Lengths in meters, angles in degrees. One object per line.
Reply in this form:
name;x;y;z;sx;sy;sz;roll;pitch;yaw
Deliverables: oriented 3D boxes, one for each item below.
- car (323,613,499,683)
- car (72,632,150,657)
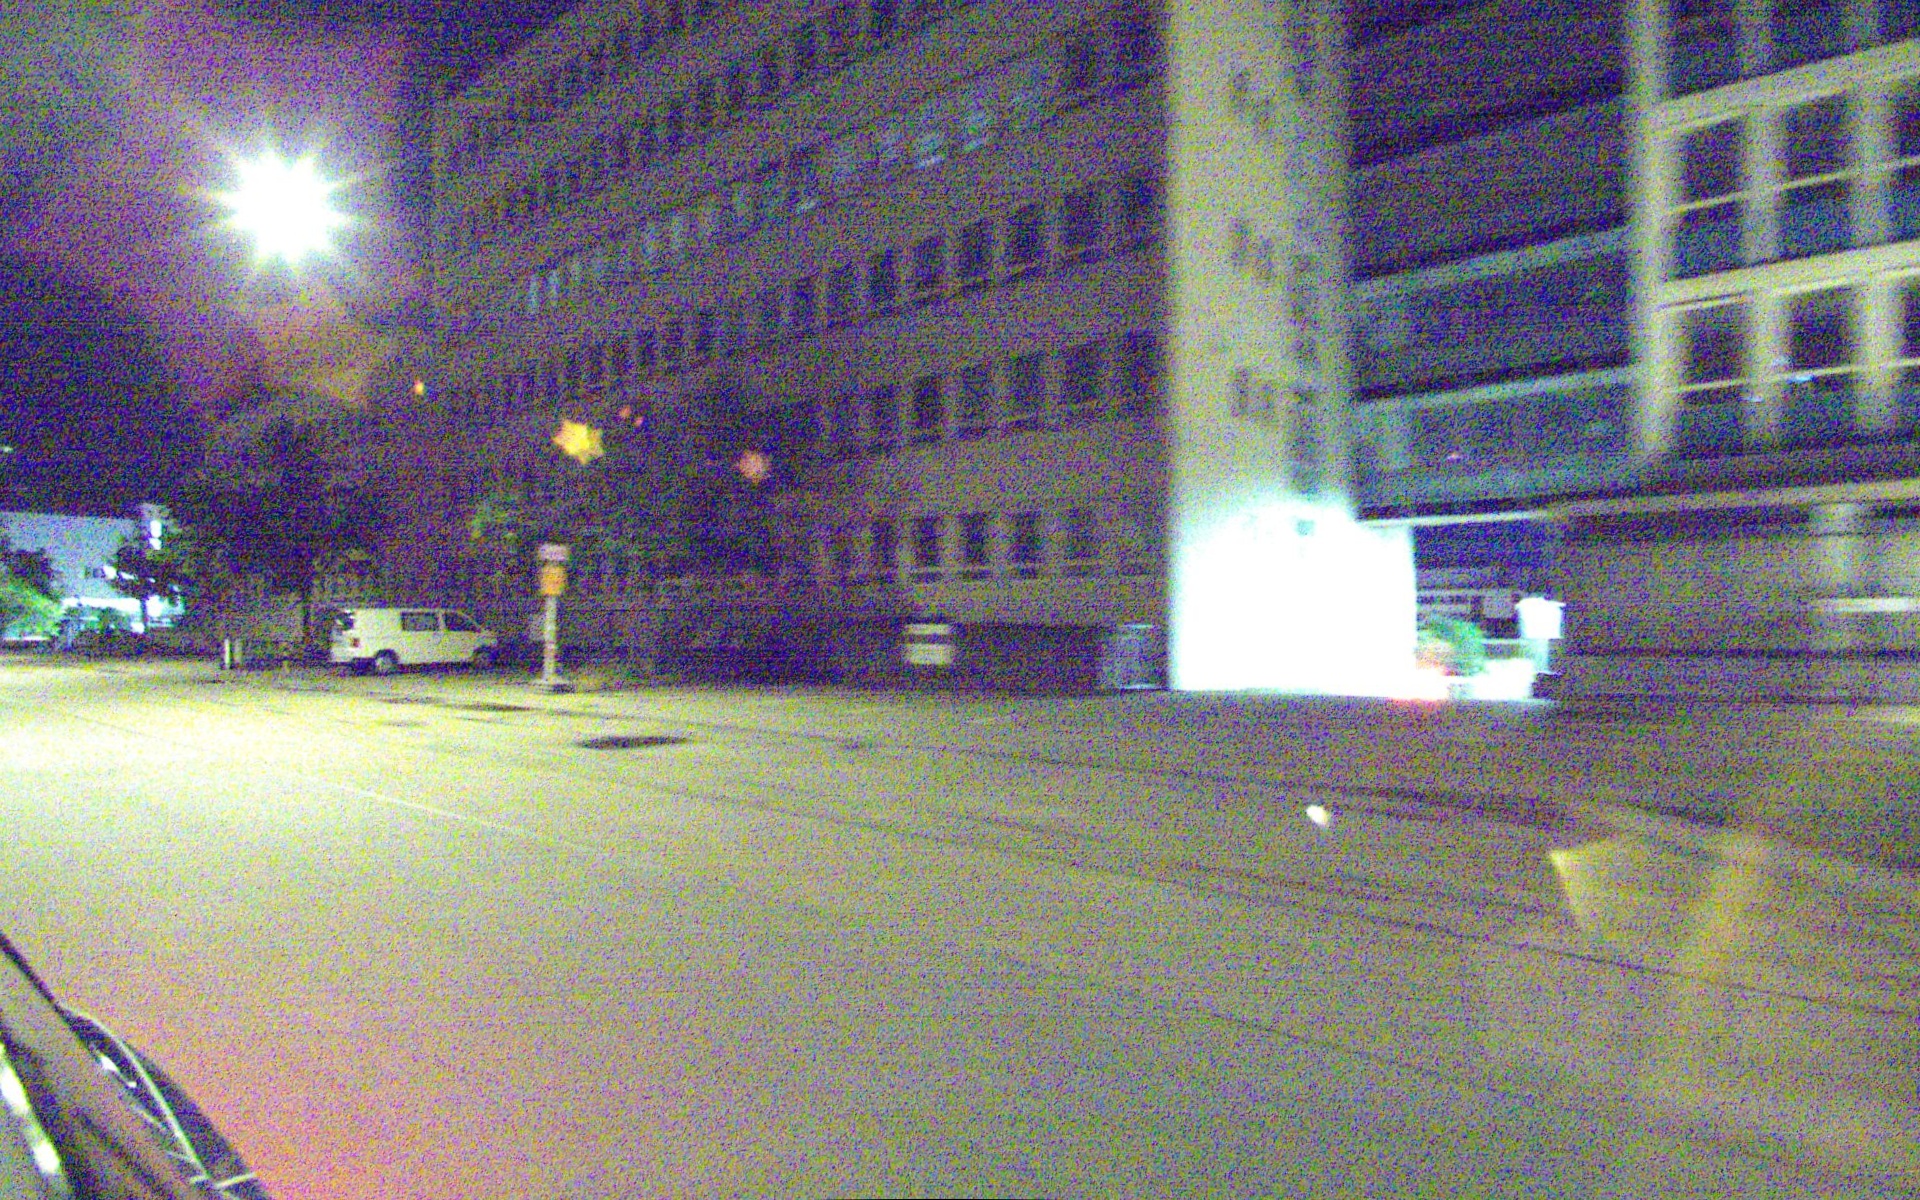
car;-16.881;1.423;31.280;1.998;1.987;4.389;-2;-1;38
car;-60.688;3.149;72.410;1.803;1.474;3.952;-2;2;36
